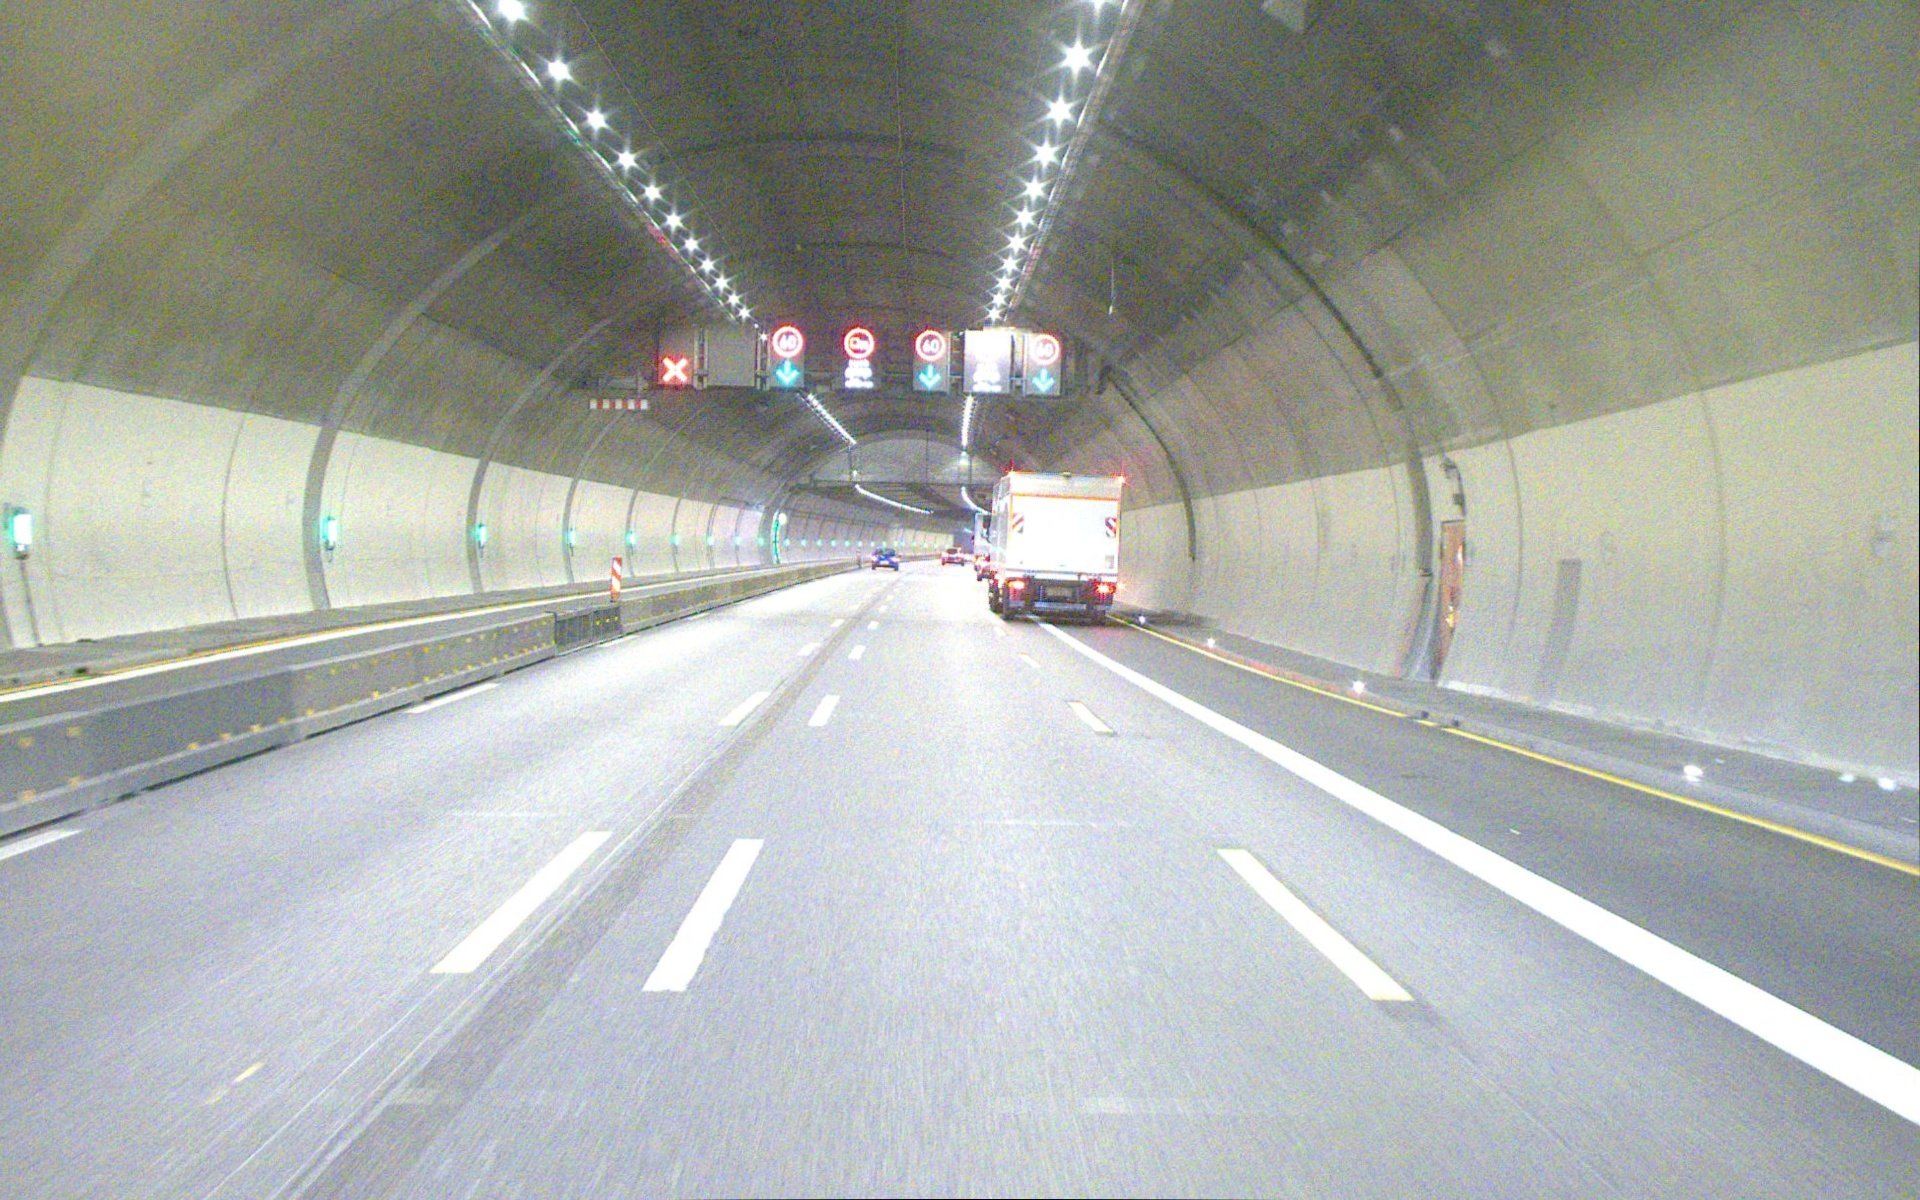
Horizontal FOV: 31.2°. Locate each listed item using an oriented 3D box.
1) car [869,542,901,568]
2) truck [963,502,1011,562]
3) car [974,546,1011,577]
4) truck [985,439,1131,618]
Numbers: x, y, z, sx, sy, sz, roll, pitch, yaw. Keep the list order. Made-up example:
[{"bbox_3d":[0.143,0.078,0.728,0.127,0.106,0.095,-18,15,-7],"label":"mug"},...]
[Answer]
[{"bbox_3d":[-4.490,-2.702,206.036,1.758,1.456,4.119,1,2,0],"label":"car"},{"bbox_3d":[1.919,-4.711,239.705,3.066,3.904,10.367,2,0,1],"label":"truck"},{"bbox_3d":[1.621,-1.941,170.989,1.739,1.456,3.960,1,2,1],"label":"car"},{"bbox_3d":[2.224,-1.624,81.932,3.092,3.904,10.368,2,0,0],"label":"truck"}]
